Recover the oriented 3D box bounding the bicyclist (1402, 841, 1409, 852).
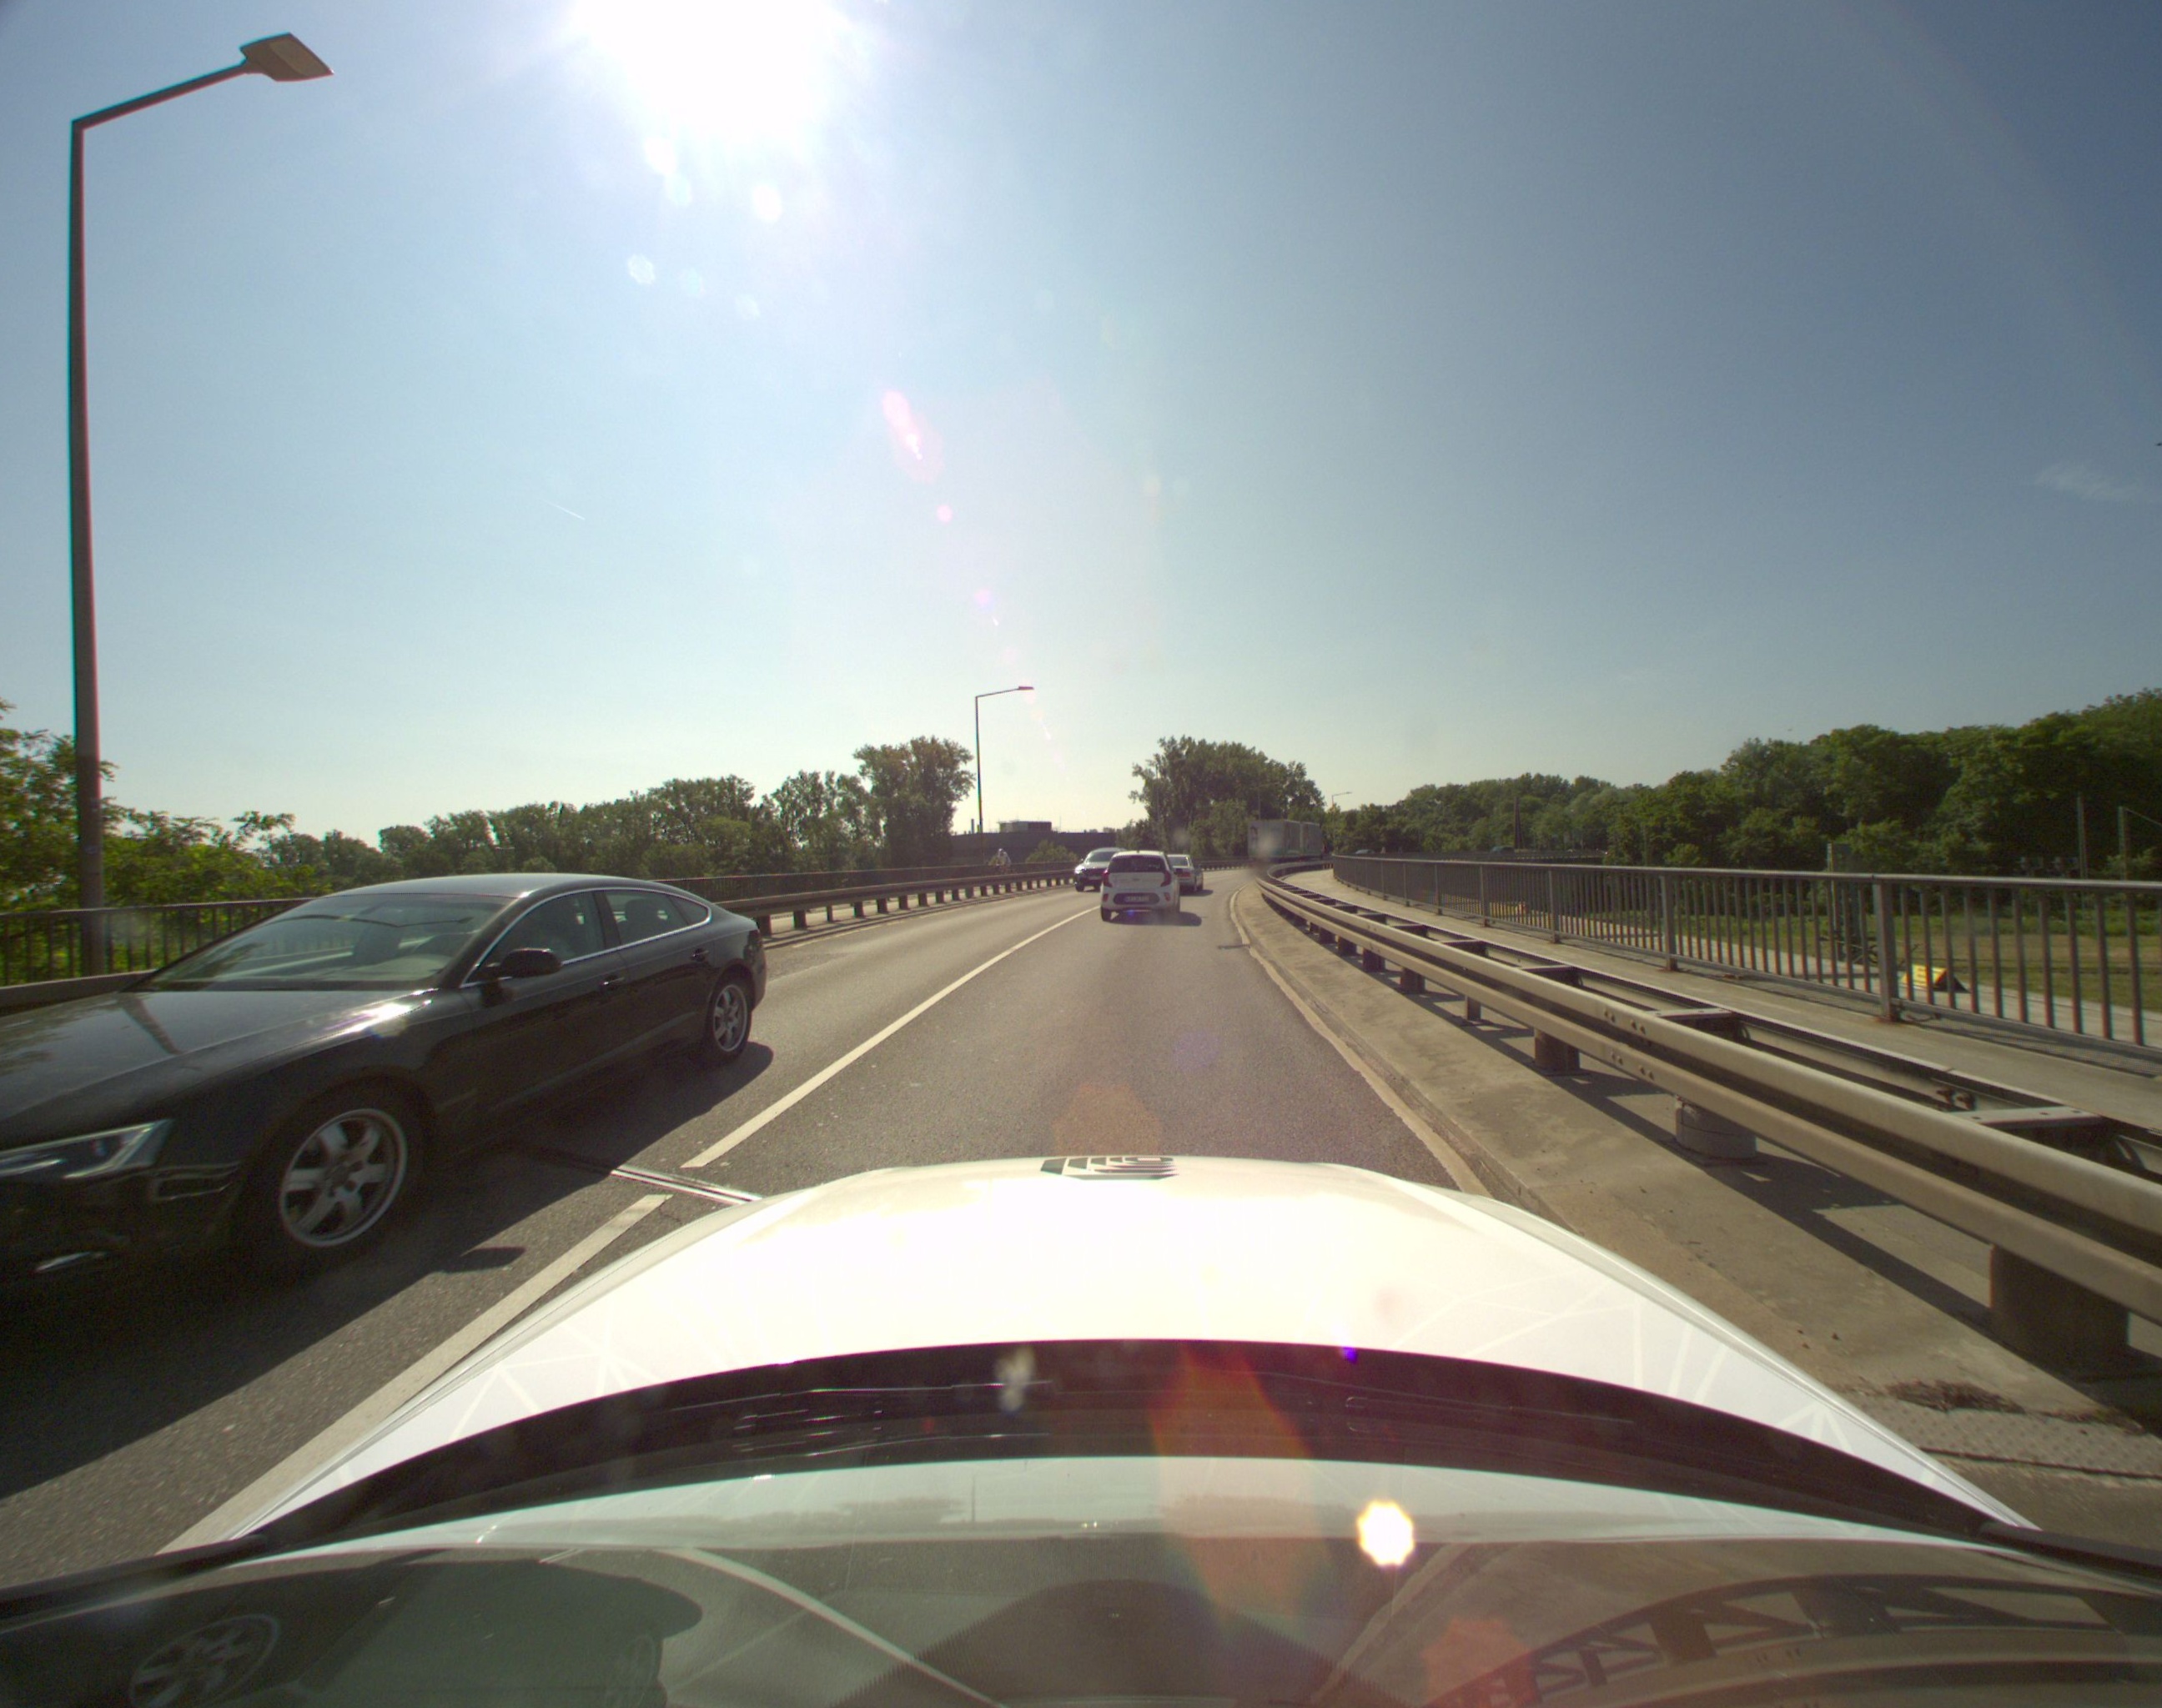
[{"bbox_3d":[45.370,-1.074,113.830,0.654,1.496,1.022,0,2,41],"label":"bicyclist"}]

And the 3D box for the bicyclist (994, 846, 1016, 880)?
[{"bbox_3d":[-3.293,0.386,35.290,0.604,1.439,1.081,-3,-1,12],"label":"bicyclist"}]

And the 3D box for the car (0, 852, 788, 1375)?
[{"bbox_3d":[-3.406,0.737,4.477,1.730,1.457,4.304,0,0,5],"label":"car"}]

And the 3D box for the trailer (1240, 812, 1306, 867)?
[{"bbox_3d":[14.054,-1.117,59.174,3.195,3.757,7.870,1,2,24],"label":"trailer"}]

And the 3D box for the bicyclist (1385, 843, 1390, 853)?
[{"bbox_3d":[41.887,-0.784,111.270,0.483,1.329,0.952,0,-1,38],"label":"bicyclist"}]

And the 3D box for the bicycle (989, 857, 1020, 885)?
[{"bbox_3d":[-3.284,0.728,35.235,0.608,1.135,2.156,-4,-1,12],"label":"bicycle"}]

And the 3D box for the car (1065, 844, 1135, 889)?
[{"bbox_3d":[0.853,0.503,32.935,1.845,1.682,4.490,0,-1,14],"label":"car"}]

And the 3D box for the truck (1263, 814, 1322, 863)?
[{"bbox_3d":[17.364,-1.333,66.468,3.231,3.757,8.419,1,2,24],"label":"truck"}]

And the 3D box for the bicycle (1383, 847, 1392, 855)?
[{"bbox_3d":[41.820,-0.398,111.203,0.568,1.047,1.721,-3,-1,38],"label":"bicycle"}]

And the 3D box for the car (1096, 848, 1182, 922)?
[{"bbox_3d":[1.444,0.615,18.891,1.692,1.494,4.009,1,1,8],"label":"car"}]

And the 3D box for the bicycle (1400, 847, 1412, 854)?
[{"bbox_3d":[45.430,-0.468,113.903,0.920,0.891,1.979,-1,1,42],"label":"bicycle"}]

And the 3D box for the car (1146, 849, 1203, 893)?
[{"bbox_3d":[3.515,0.566,30.205,1.928,1.486,4.911,0,0,8],"label":"car"}]
